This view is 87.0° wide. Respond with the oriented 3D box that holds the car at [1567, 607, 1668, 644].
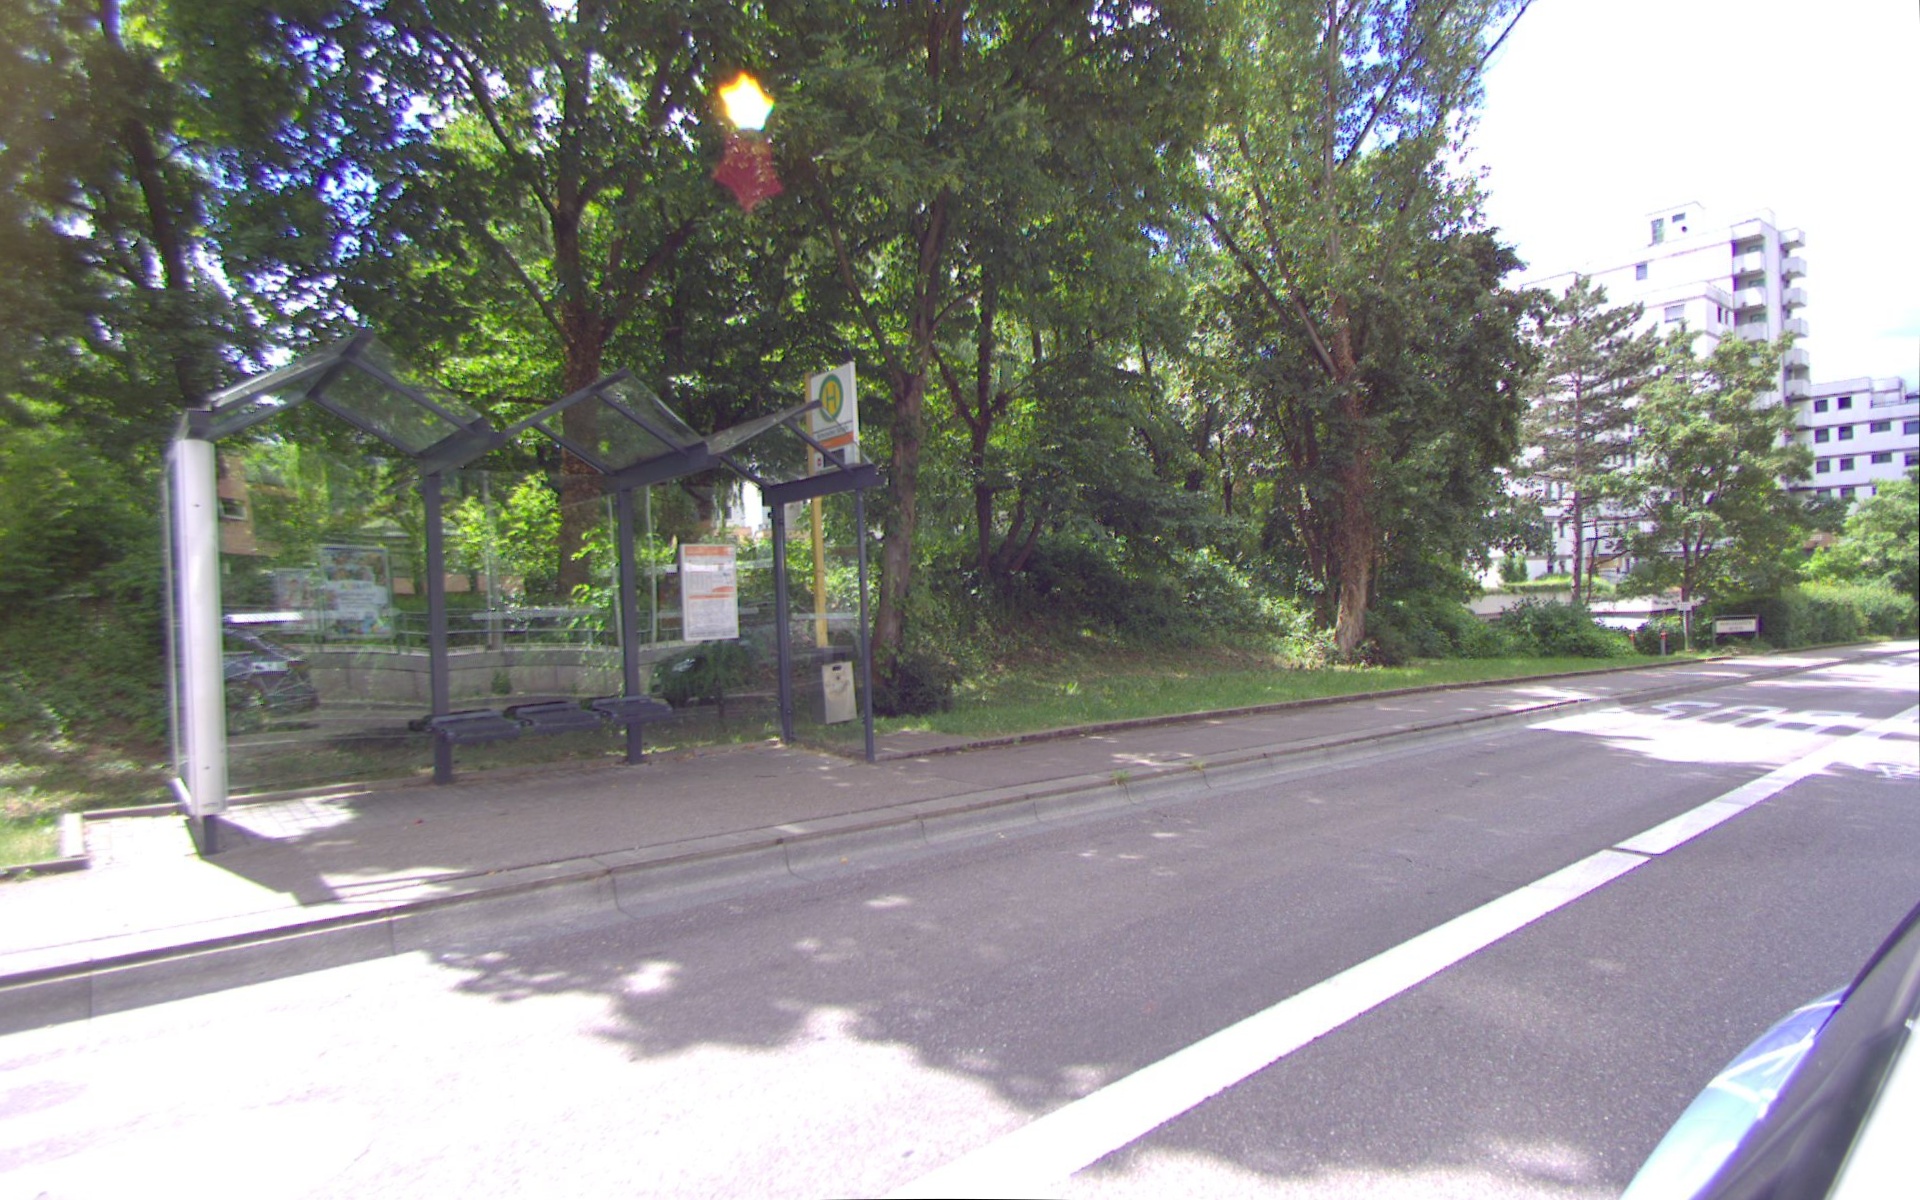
[{"bbox_3d":[38.692,1.437,59.657,1.961,2.039,4.550,0,0,-34],"label":"car"}]
